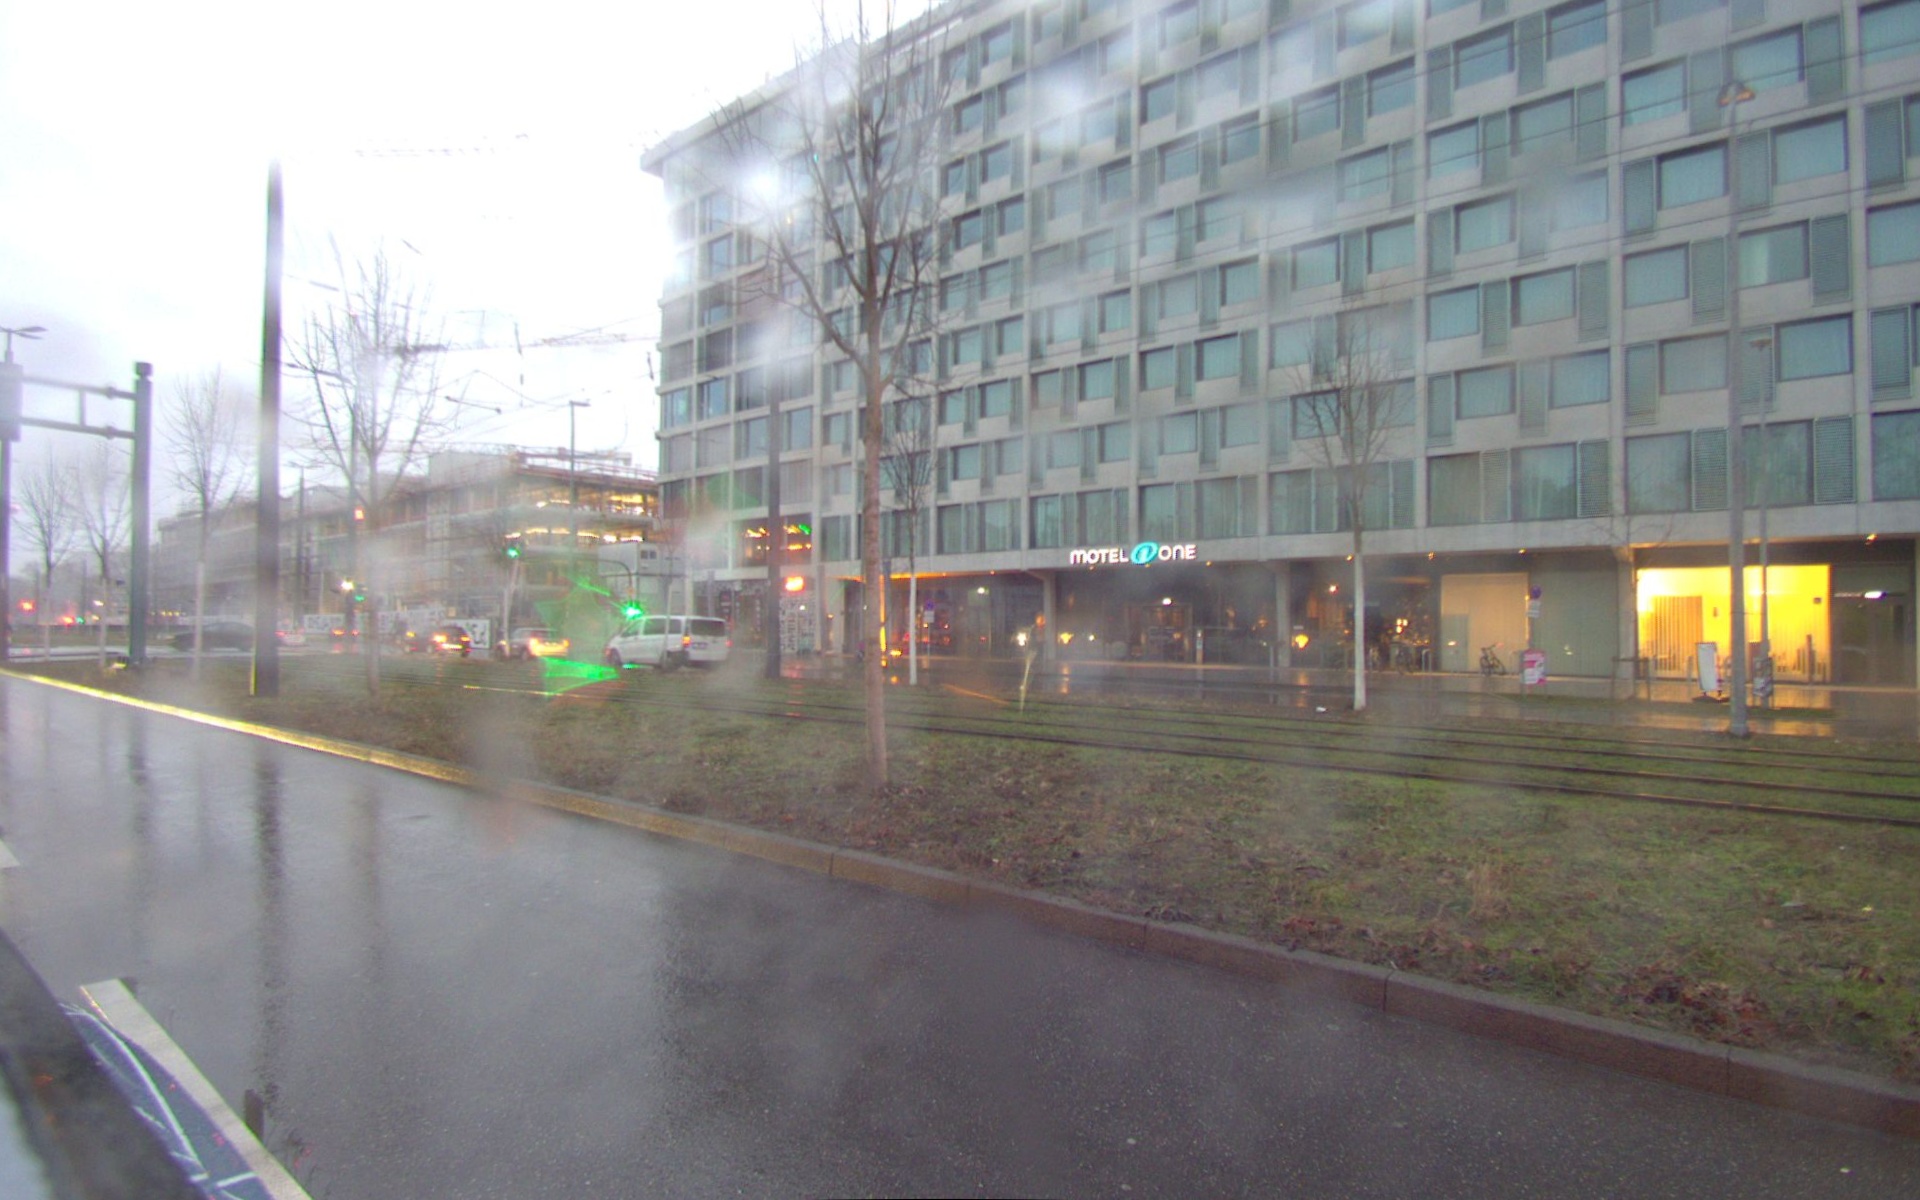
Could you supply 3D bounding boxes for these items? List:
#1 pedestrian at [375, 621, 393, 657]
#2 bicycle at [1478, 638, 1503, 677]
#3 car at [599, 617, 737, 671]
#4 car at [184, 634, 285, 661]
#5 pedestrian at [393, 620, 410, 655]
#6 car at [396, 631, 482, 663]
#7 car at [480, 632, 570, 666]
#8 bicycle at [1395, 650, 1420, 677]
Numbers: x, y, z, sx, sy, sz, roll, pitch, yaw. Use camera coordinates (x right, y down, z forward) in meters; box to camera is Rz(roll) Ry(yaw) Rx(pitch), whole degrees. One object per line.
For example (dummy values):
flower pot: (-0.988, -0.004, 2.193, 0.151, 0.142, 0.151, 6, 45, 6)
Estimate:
pedestrian: (-30.282, 2.038, 53.170, 0.699, 1.818, 0.771, -1, 0, -39)
bicycle: (18.070, 1.942, 34.454, 0.465, 1.247, 1.520, -1, 0, 39)
car: (-9.839, 1.456, 33.889, 5.041, 1.682, 2.060, -1, -3, 41)
car: (-36.538, 2.367, 51.029, 3.938, 1.284, 1.820, 2, -3, -42)
pedestrian: (-29.499, 1.991, 53.453, 0.699, 1.818, 0.771, -1, 0, -37)
car: (-24.594, 2.180, 47.726, 4.254, 1.411, 2.084, -1, -3, 40)
car: (-17.743, 1.974, 41.219, 3.998, 1.317, 1.793, -1, -3, 41)
bicycle: (15.815, 2.231, 35.778, 0.465, 0.860, 1.332, -1, 0, 39)
